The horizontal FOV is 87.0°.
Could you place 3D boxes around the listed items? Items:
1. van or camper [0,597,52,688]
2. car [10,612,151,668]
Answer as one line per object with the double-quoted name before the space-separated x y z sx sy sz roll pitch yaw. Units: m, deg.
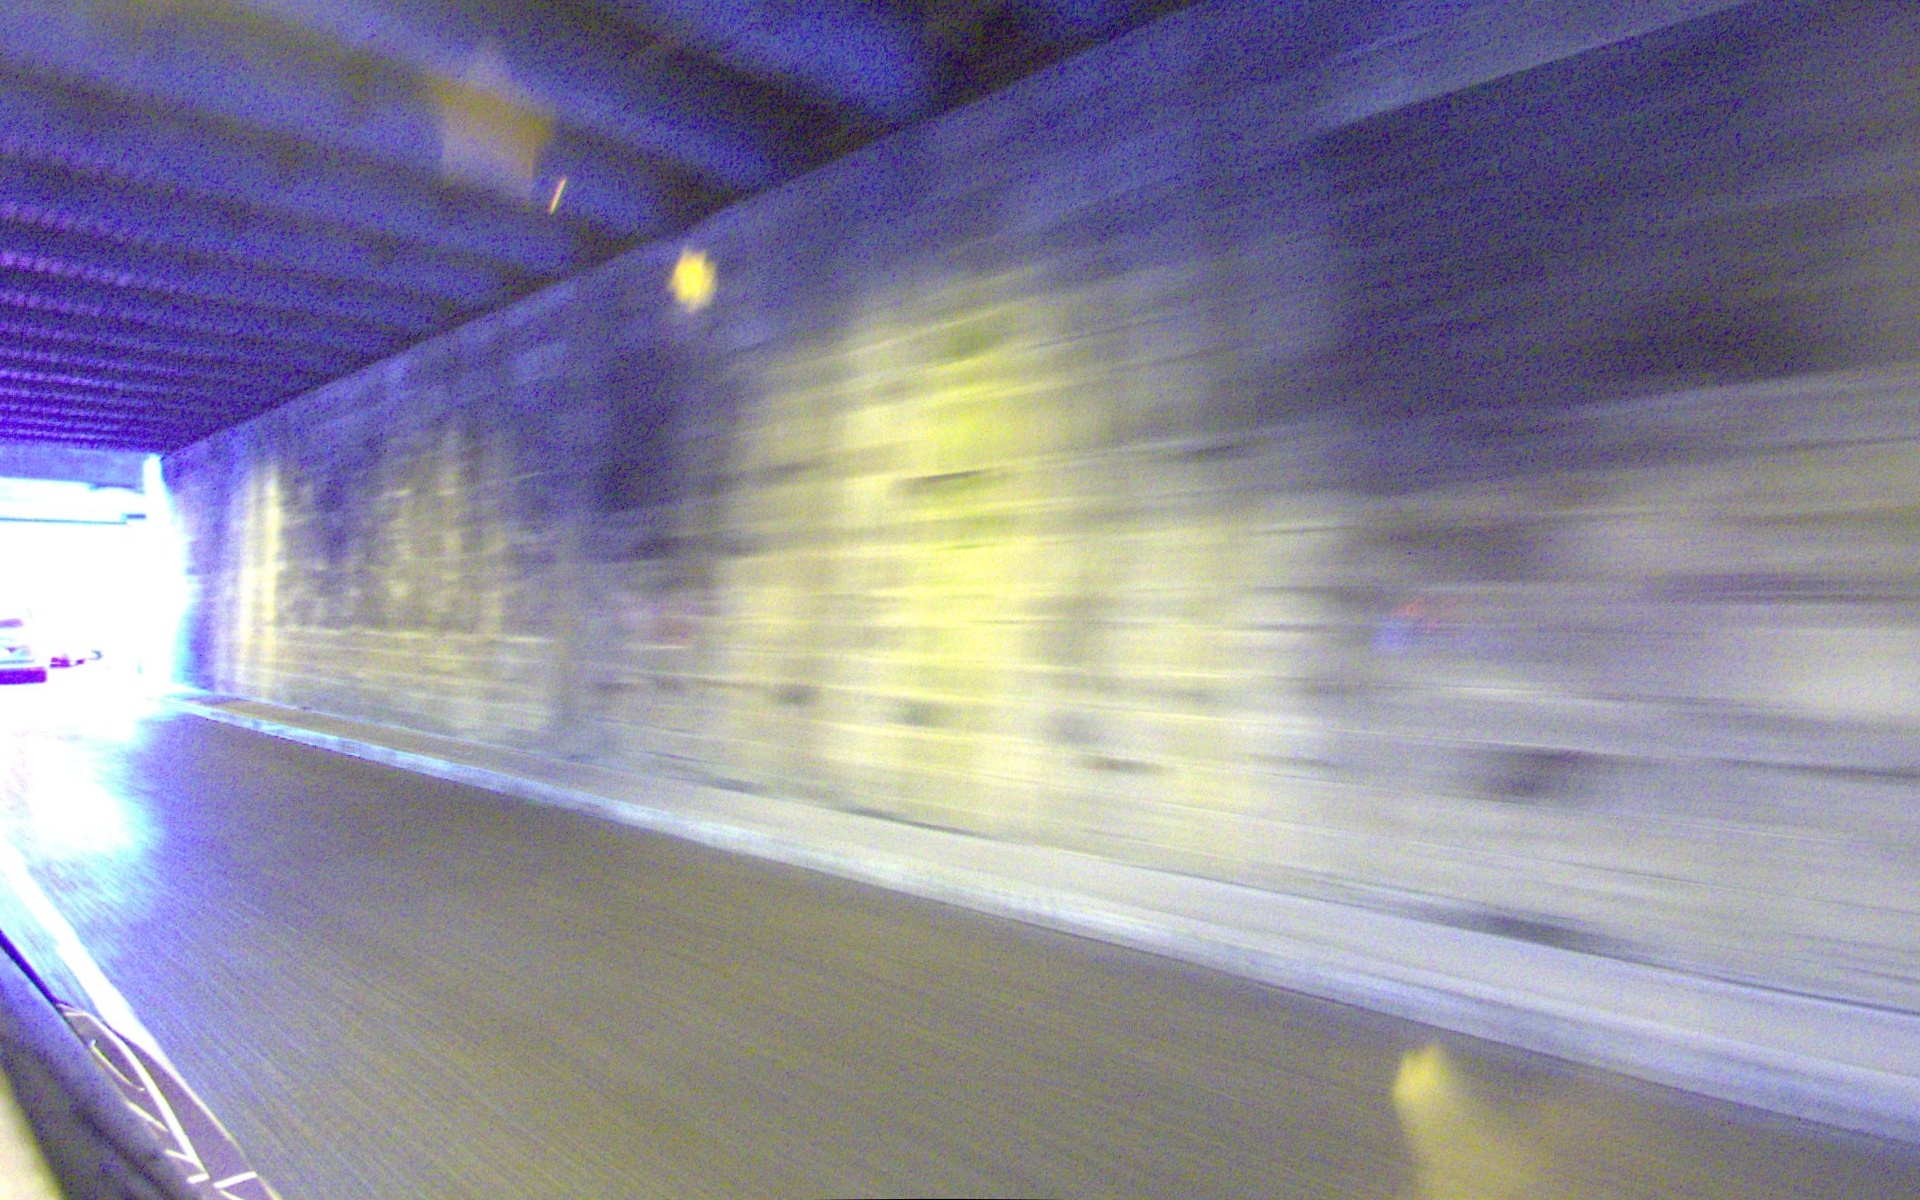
"van or camper" -21.754 0.877 22.458 5.140 1.882 1.971 0 -1 43
"car" -29.303 1.272 33.918 1.966 1.541 4.515 -5 2 -20
